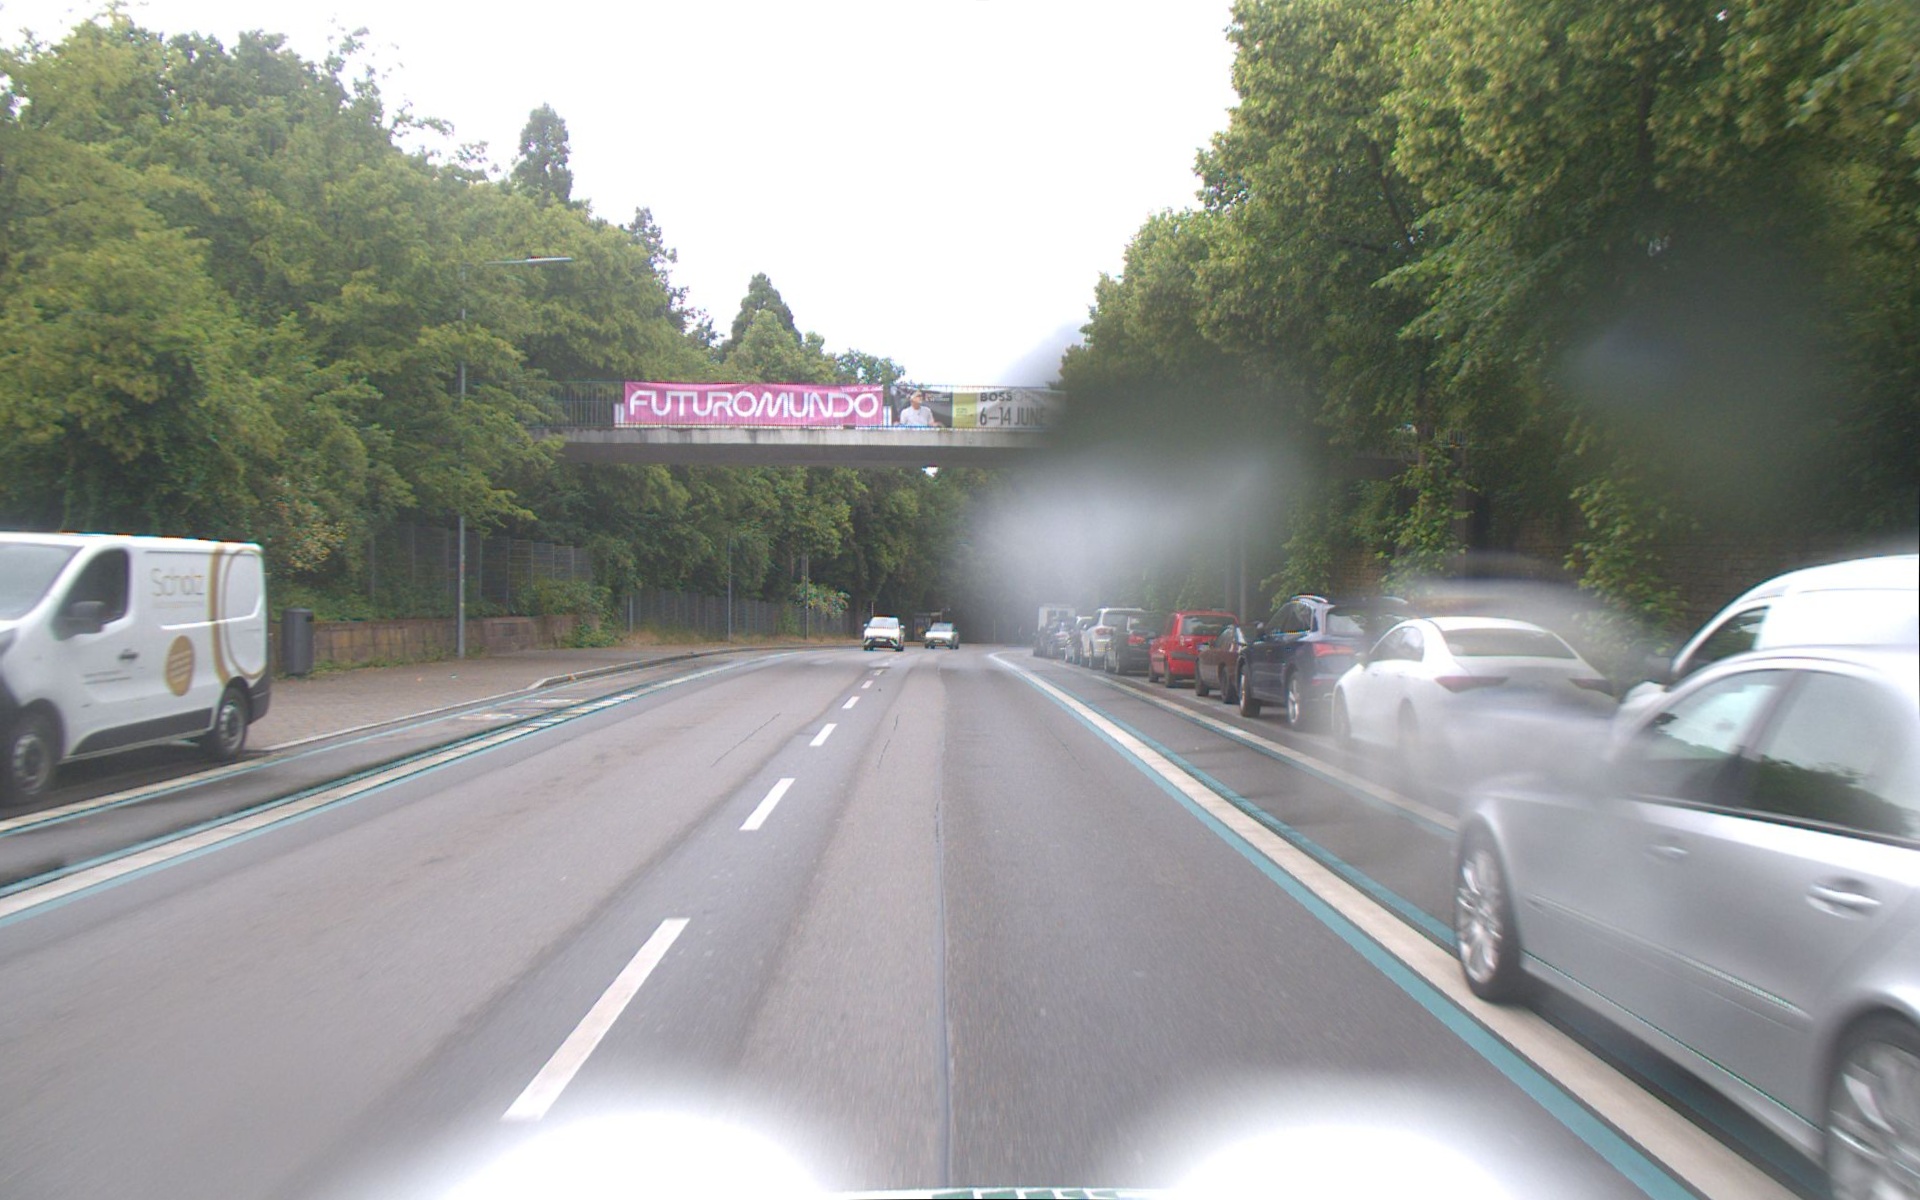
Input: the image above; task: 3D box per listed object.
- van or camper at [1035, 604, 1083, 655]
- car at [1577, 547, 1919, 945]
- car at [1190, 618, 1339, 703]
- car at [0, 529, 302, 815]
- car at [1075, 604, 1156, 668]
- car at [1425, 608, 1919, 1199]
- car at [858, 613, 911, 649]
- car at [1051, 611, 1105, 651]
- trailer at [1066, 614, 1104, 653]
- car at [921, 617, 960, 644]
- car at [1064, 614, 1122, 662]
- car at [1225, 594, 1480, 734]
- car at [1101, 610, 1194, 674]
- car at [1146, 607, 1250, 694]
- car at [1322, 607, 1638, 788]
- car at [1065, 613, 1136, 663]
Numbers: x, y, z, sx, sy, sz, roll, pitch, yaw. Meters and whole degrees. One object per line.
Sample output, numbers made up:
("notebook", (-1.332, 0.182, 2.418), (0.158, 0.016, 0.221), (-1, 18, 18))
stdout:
("van or camper", (5.593, 1.665, 92.854), (2.268, 2.711, 6.386), (2, -1, 6))
("car", (5.220, 0.673, 9.432), (1.687, 1.822, 4.344), (1, 0, -1))
("car", (5.004, 0.957, 27.724), (1.593, 1.210, 4.182), (1, 0, -2))
("car", (-7.427, 0.447, 13.435), (1.938, 1.948, 5.228), (1, 1, 1))
("car", (4.269, 1.004, 45.970), (1.679, 1.647, 4.259), (1, -1, -2))
("car", (2.876, 0.783, 4.736), (1.686, 1.422, 4.590), (1, 0, -1))
("car", (-3.510, 1.422, 77.253), (1.930, 1.579, 3.872), (1, -1, 5))
("car", (4.374, 1.182, 61.788), (1.738, 1.372, 4.466), (2, -2, 1))
("trailer", (9.237, 2.479, 121.678), (2.267, 2.719, 5.380), (2, -1, 9))
("car", (-1.202, 1.941, 104.408), (1.758, 1.604, 4.105), (1, -2, 10))
("car", (4.549, 1.312, 56.893), (1.627, 1.562, 3.740), (2, -2, -1))
("car", (4.984, 0.750, 21.731), (1.954, 1.587, 4.639), (1, 0, -4))
("car", (4.508, 1.035, 40.223), (1.639, 1.418, 4.448), (1, -2, -1))
("car", (4.764, 0.967, 33.512), (1.527, 1.492, 3.626), (1, 2, -1))
("car", (4.905, 0.833, 16.289), (1.626, 1.451, 4.618), (1, 0, 0))
("car", (4.276, 1.192, 50.995), (1.683, 1.400, 4.556), (1, -3, -1))
